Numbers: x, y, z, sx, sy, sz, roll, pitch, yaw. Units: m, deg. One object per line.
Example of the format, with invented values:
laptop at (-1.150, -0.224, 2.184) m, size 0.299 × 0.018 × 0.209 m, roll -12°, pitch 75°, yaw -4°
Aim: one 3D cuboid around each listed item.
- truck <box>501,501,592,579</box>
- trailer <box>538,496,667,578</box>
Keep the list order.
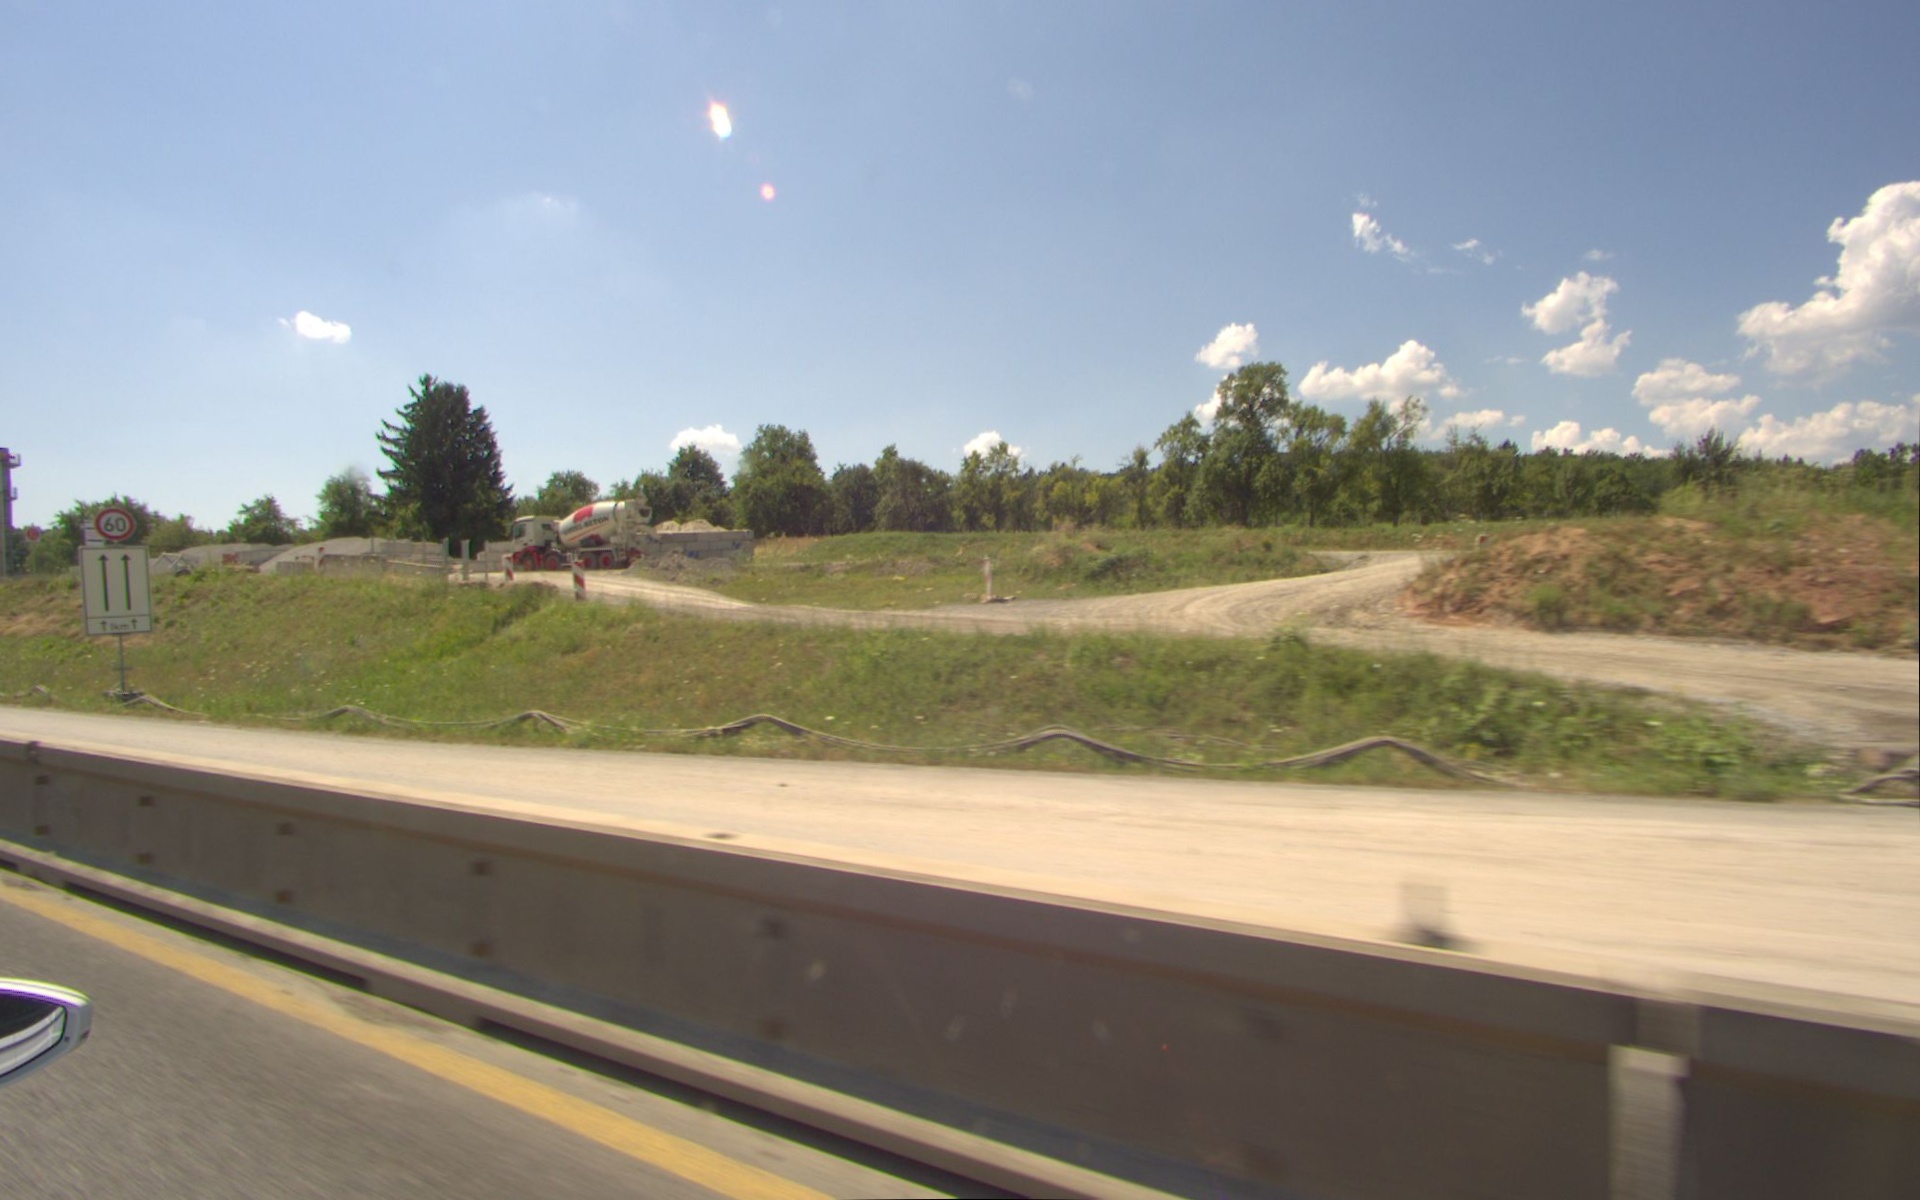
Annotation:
truck at (-23.670, -3.367, 57.327) m, size 4.031 × 4.150 × 2.747 m, roll -1°, pitch 0°, yaw 22°
trailer at (-19.918, -3.406, 55.761) m, size 6.632 × 4.168 × 2.758 m, roll -1°, pitch 0°, yaw 23°
